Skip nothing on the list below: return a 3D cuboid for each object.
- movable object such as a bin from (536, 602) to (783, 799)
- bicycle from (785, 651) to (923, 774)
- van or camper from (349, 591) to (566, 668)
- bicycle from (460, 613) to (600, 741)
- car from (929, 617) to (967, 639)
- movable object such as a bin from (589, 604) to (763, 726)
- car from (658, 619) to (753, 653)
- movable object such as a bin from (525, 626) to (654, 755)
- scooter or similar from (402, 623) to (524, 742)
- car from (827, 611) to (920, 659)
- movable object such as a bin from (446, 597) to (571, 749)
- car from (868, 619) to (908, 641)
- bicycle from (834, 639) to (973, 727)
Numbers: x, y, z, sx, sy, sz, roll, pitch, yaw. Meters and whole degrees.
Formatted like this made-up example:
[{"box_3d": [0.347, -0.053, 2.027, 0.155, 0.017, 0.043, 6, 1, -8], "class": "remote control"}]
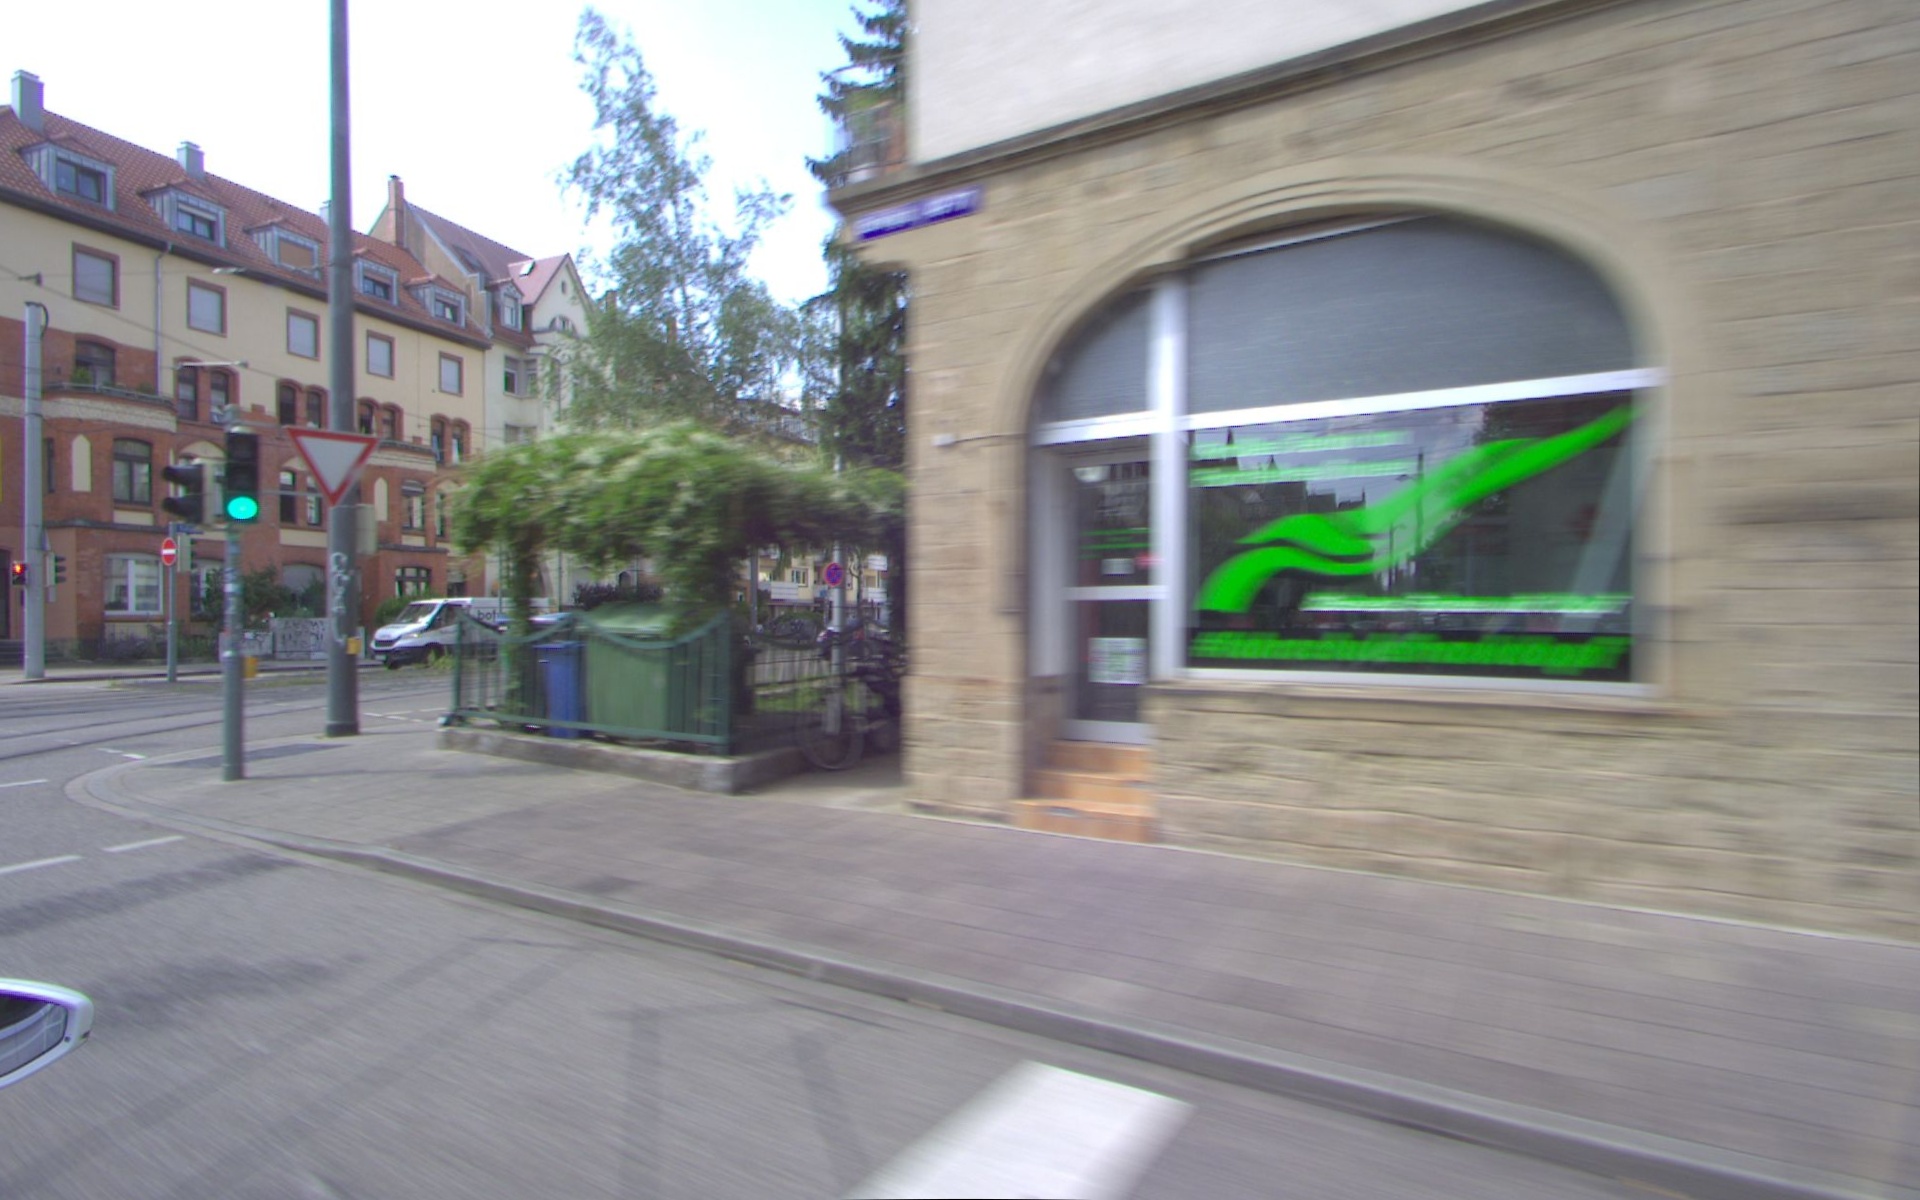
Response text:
[{"box_3d": [-2.704, 0.808, 8.965, 2.071, 1.560, 1.047, 0, 0, 34], "class": "movable object such as a bin"}, {"box_3d": [-0.998, 1.050, 9.873, 0.503, 1.013, 1.841, 0, 0, 24], "class": "bicycle"}, {"box_3d": [-16.414, 0.942, 33.249, 2.211, 2.283, 6.526, 0, -1, 25], "class": "van or camper"}, {"box_3d": [-4.909, 0.830, 11.568, 0.272, 1.346, 1.829, 0, 0, 21], "class": "bicycle"}, {"box_3d": [-0.830, 1.964, 70.732, 1.685, 1.461, 3.349, 0, -1, 18], "class": "car"}, {"box_3d": [-3.590, 0.765, 12.877, 1.036, 1.431, 2.093, 0, 0, 25], "class": "movable object such as a bin"}, {"box_3d": [-11.211, 1.560, 44.358, 1.905, 1.458, 4.005, 0, -1, 27], "class": "car"}, {"box_3d": [-3.683, 0.863, 9.994, 0.650, 1.190, 1.025, 0, 0, 34], "class": "movable object such as a bin"}, {"box_3d": [-5.520, 0.888, 11.180, 0.456, 1.233, 1.194, 0, 0, 25], "class": "scooter or similar"}, {"box_3d": [-3.111, 1.240, 36.783, 1.874, 1.596, 3.803, 2, 1, 22], "class": "car"}, {"box_3d": [-4.681, 0.726, 10.397, 0.966, 1.491, 0.715, 0, 0, 23], "class": "movable object such as a bin"}, {"box_3d": [-4.701, 1.945, 66.113, 1.539, 1.404, 3.183, 0, -1, 18], "class": "car"}, {"box_3d": [-0.712, 1.008, 12.469, 1.690, 1.014, 0.510, 0, 0, 25], "class": "bicycle"}]
